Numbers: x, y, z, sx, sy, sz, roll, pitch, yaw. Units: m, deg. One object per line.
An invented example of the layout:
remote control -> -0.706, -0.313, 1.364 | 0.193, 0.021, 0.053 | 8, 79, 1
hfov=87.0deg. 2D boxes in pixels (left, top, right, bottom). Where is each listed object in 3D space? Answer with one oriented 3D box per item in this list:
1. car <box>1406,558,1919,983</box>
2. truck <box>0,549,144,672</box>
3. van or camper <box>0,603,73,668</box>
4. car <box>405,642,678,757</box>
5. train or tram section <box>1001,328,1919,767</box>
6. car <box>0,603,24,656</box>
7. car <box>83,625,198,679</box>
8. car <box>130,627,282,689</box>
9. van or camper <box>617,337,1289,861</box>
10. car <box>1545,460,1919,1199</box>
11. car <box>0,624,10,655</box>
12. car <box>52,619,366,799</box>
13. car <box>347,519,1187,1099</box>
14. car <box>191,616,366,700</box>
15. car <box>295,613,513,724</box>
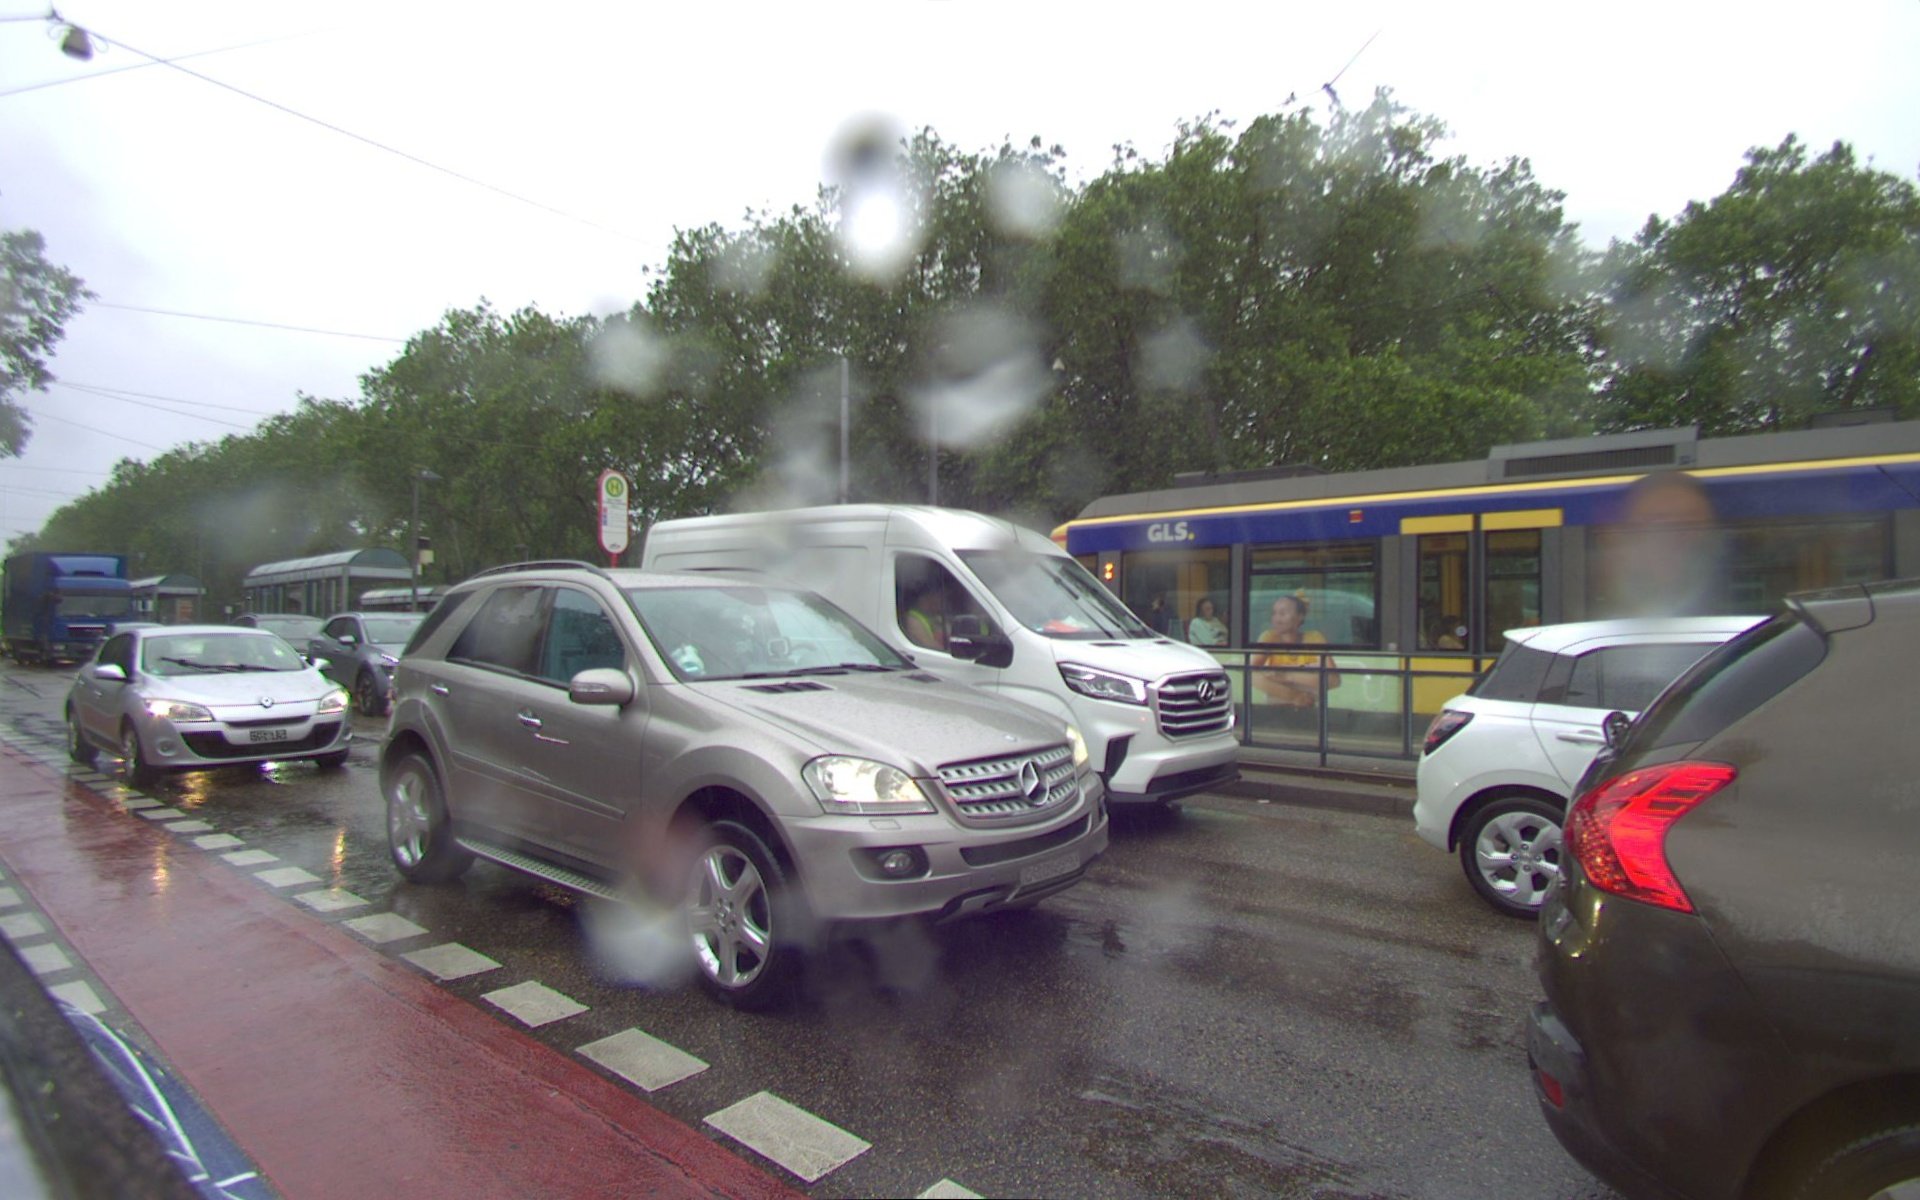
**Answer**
car -> 4.257, 0.673, 4.529 | 3.834, 1.641, 1.628 | -1, -2, 41
truck -> -32.281, 0.461, 36.427 | 9.803, 3.919, 2.513 | -1, -3, 40
van or camper -> -40.049, 1.475, 43.550 | 6.427, 2.590, 1.973 | -1, 0, 41
car -> -5.315, 1.135, 12.599 | 4.084, 1.126, 1.448 | -1, -1, 40
train or tram section -> 6.889, -0.402, 11.198 | 13.651, 3.539, 3.477 | -1, 0, 41
car -> -46.856, 1.421, 48.891 | 5.727, 2.445, 1.972 | -1, 0, 43
car -> -24.339, 1.485, 30.007 | 4.074, 1.498, 1.871 | -1, -2, 40
car -> -18.834, 1.390, 25.208 | 4.602, 1.405, 1.973 | -1, -3, 40
van or camper -> -0.399, 0.056, 8.818 | 5.846, 3.166, 2.136 | -1, -2, 40
car -> 3.284, 0.598, 1.242 | 4.170, 1.681, 1.815 | -1, -1, 41
car -> -52.359, 2.103, 54.069 | 3.998, 1.589, 1.973 | -1, -1, 41
car -> -7.848, 0.956, 10.447 | 3.998, 1.489, 1.750 | -1, -1, 40
car -> -1.299, 0.675, 5.335 | 4.459, 1.783, 2.004 | -1, -1, 40
car -> -14.652, 1.172, 21.683 | 4.316, 1.633, 1.974 | -1, -2, 40
car -> -9.492, 1.065, 17.120 | 4.454, 1.636, 1.894 | -1, -2, 43
